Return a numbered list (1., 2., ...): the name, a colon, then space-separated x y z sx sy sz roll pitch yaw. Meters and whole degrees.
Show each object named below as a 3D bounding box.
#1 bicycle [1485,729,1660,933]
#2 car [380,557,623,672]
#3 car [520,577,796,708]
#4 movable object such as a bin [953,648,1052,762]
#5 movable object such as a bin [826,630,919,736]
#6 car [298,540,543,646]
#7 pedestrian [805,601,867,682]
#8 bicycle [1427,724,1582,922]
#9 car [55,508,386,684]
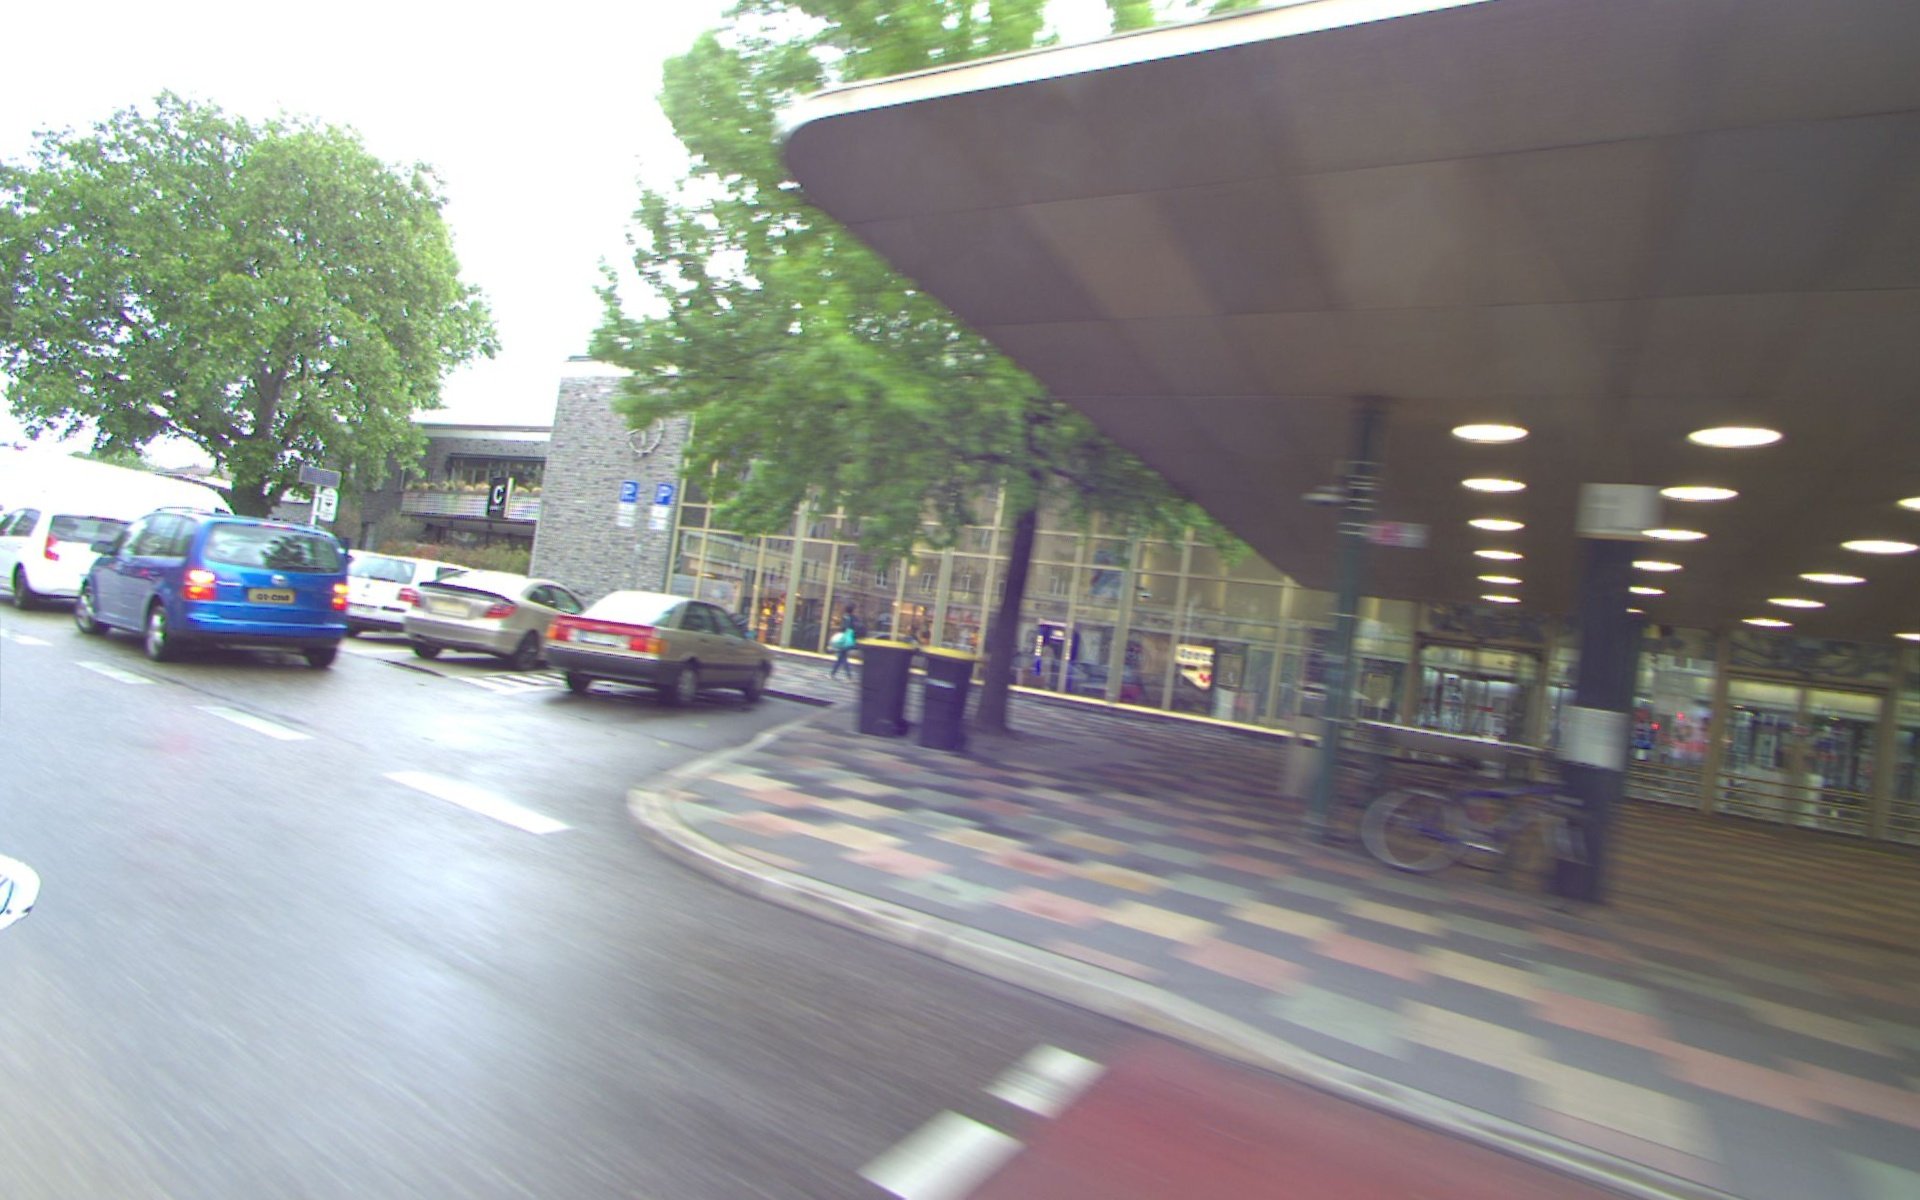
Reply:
1. bicycle: 4.334 1.571 7.253 0.412 1.069 1.834 6 0 13
2. car: -6.992 0.258 15.881 1.830 1.375 4.002 7 -2 1
3. car: -3.940 0.607 13.995 1.805 1.341 4.203 7 -2 11
4. movable object such as a bin: 0.461 1.096 10.713 0.735 1.080 0.753 7 1 22
5. movable object such as a bin: -1.015 0.954 11.784 0.735 1.109 0.753 7 1 19
6. car: -9.329 -0.032 17.833 1.829 1.460 4.003 7 -2 5
7. pedestrian: -2.589 0.866 21.033 0.799 1.578 0.867 7 1 24
8. bicycle: 3.898 1.534 7.333 0.412 1.068 1.835 6 -1 13
9. car: -8.753 -0.080 11.826 3.937 1.587 1.860 6 -1 35
